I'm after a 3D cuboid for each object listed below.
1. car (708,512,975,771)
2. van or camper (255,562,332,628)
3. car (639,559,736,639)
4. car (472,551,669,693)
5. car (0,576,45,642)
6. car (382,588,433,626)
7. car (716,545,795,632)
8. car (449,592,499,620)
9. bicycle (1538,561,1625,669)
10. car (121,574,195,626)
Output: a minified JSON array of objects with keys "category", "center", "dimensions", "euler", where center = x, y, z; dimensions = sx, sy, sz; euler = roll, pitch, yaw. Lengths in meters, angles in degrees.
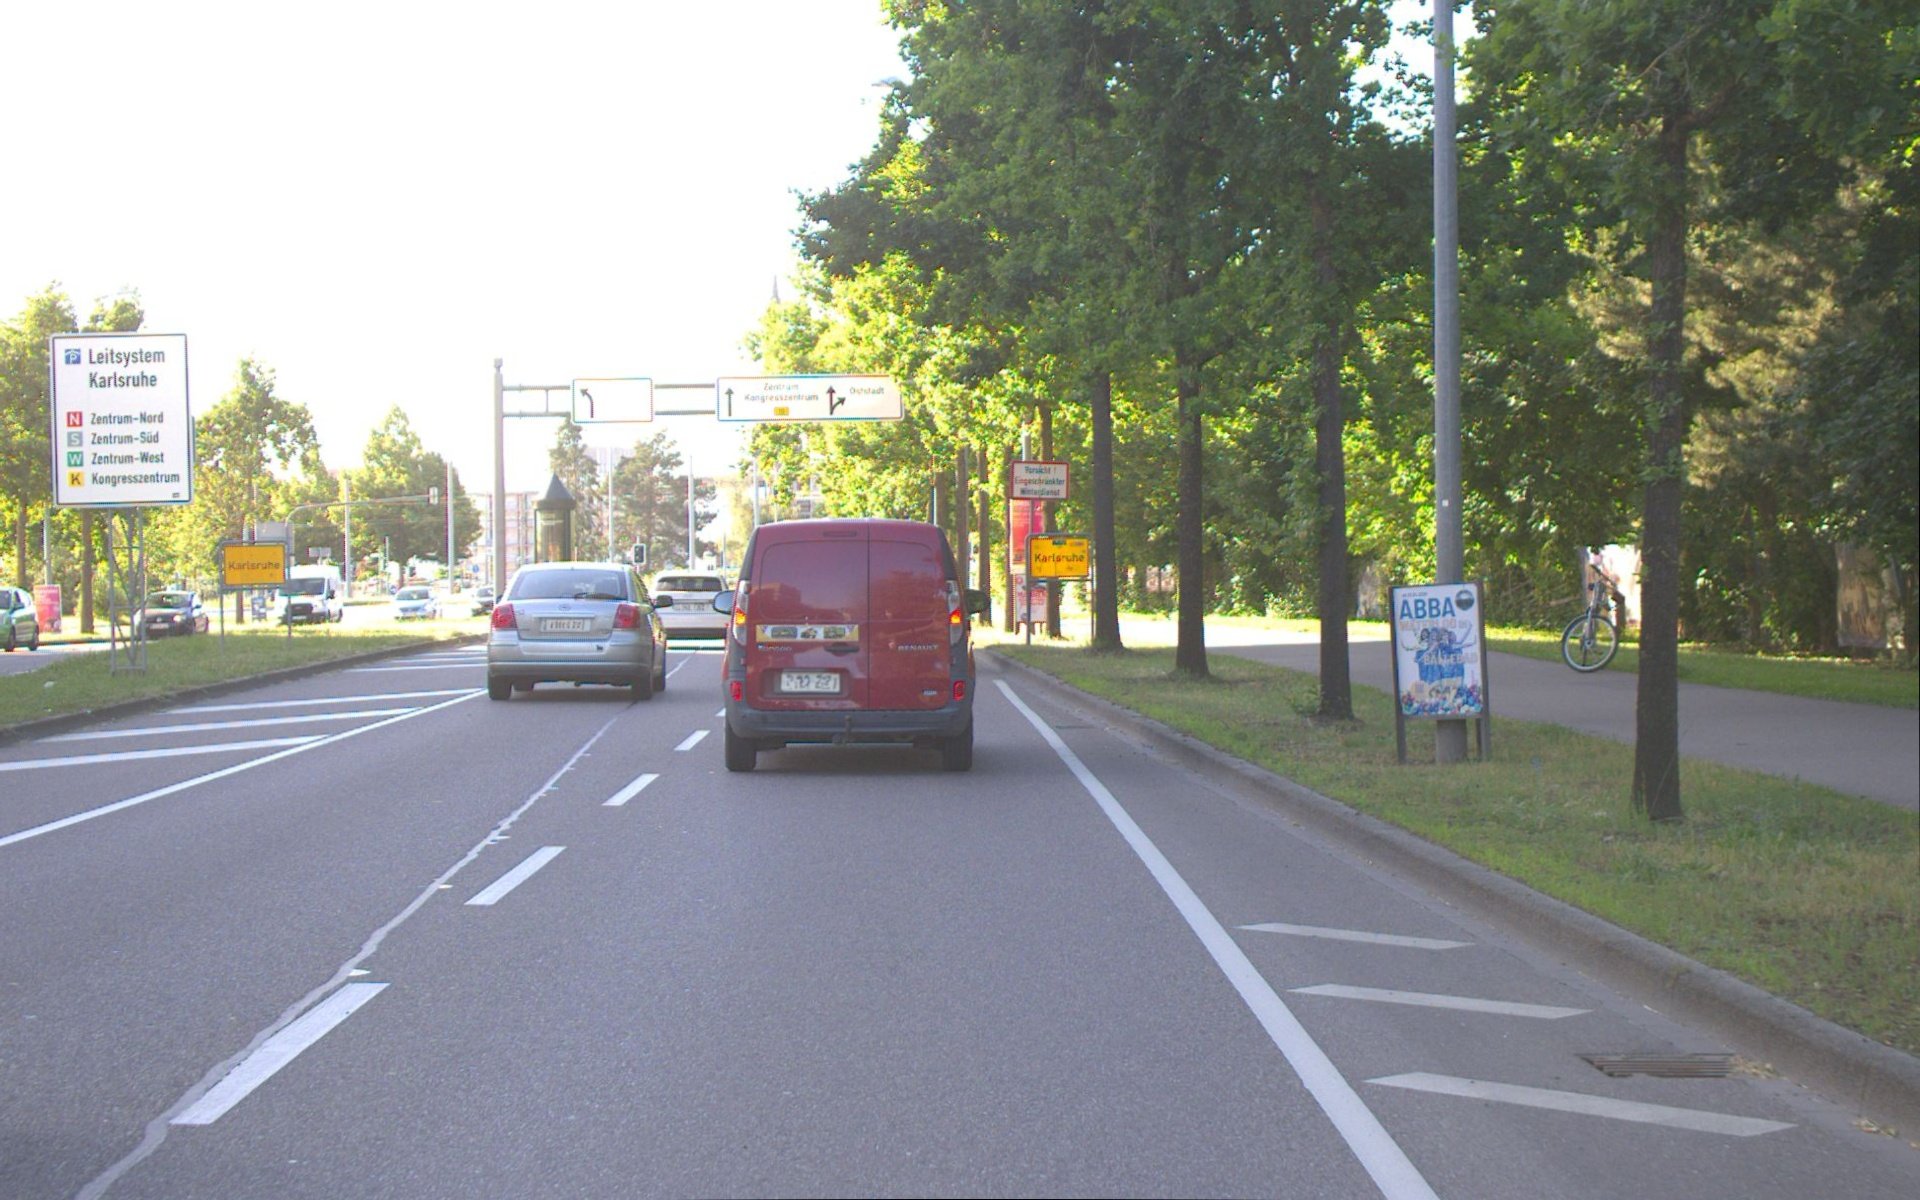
[{"category":"car","center":[-0.917,0.262,25.474],"dimensions":[1.806,1.753,4.006],"euler":[0,1,-3]},{"category":"van or camper","center":[-25.237,-0.235,130.358],"dimensions":[1.993,2.360,5.994],"euler":[-2,1,-3]},{"category":"car","center":[-4.961,-0.040,62.834],"dimensions":[1.661,1.393,3.559],"euler":[-1,1,-3]},{"category":"car","center":[-4.204,0.208,37.620],"dimensions":[1.841,1.451,4.163],"euler":[1,1,-3]},{"category":"car","center":[-21.951,0.200,78.438],"dimensions":[1.445,1.431,3.460],"euler":[-1,1,-4]},{"category":"car","center":[-22.342,0.269,139.044],"dimensions":[1.688,1.471,4.050],"euler":[-1,1,-5]},{"category":"car","center":[-4.445,-0.266,75.026],"dimensions":[1.661,1.850,3.559],"euler":[-1,1,-3]},{"category":"car","center":[-20.704,0.252,146.575],"dimensions":[1.827,1.107,4.175],"euler":[-1,1,-5]},{"category":"bicycle","center":[6.717,0.148,37.222],"dimensions":[0.774,1.127,1.708],"euler":[-1,1,5]},{"category":"car","center":[-24.090,-0.010,103.326],"dimensions":[1.550,1.503,4.027],"euler":[-1,1,-4]}]
